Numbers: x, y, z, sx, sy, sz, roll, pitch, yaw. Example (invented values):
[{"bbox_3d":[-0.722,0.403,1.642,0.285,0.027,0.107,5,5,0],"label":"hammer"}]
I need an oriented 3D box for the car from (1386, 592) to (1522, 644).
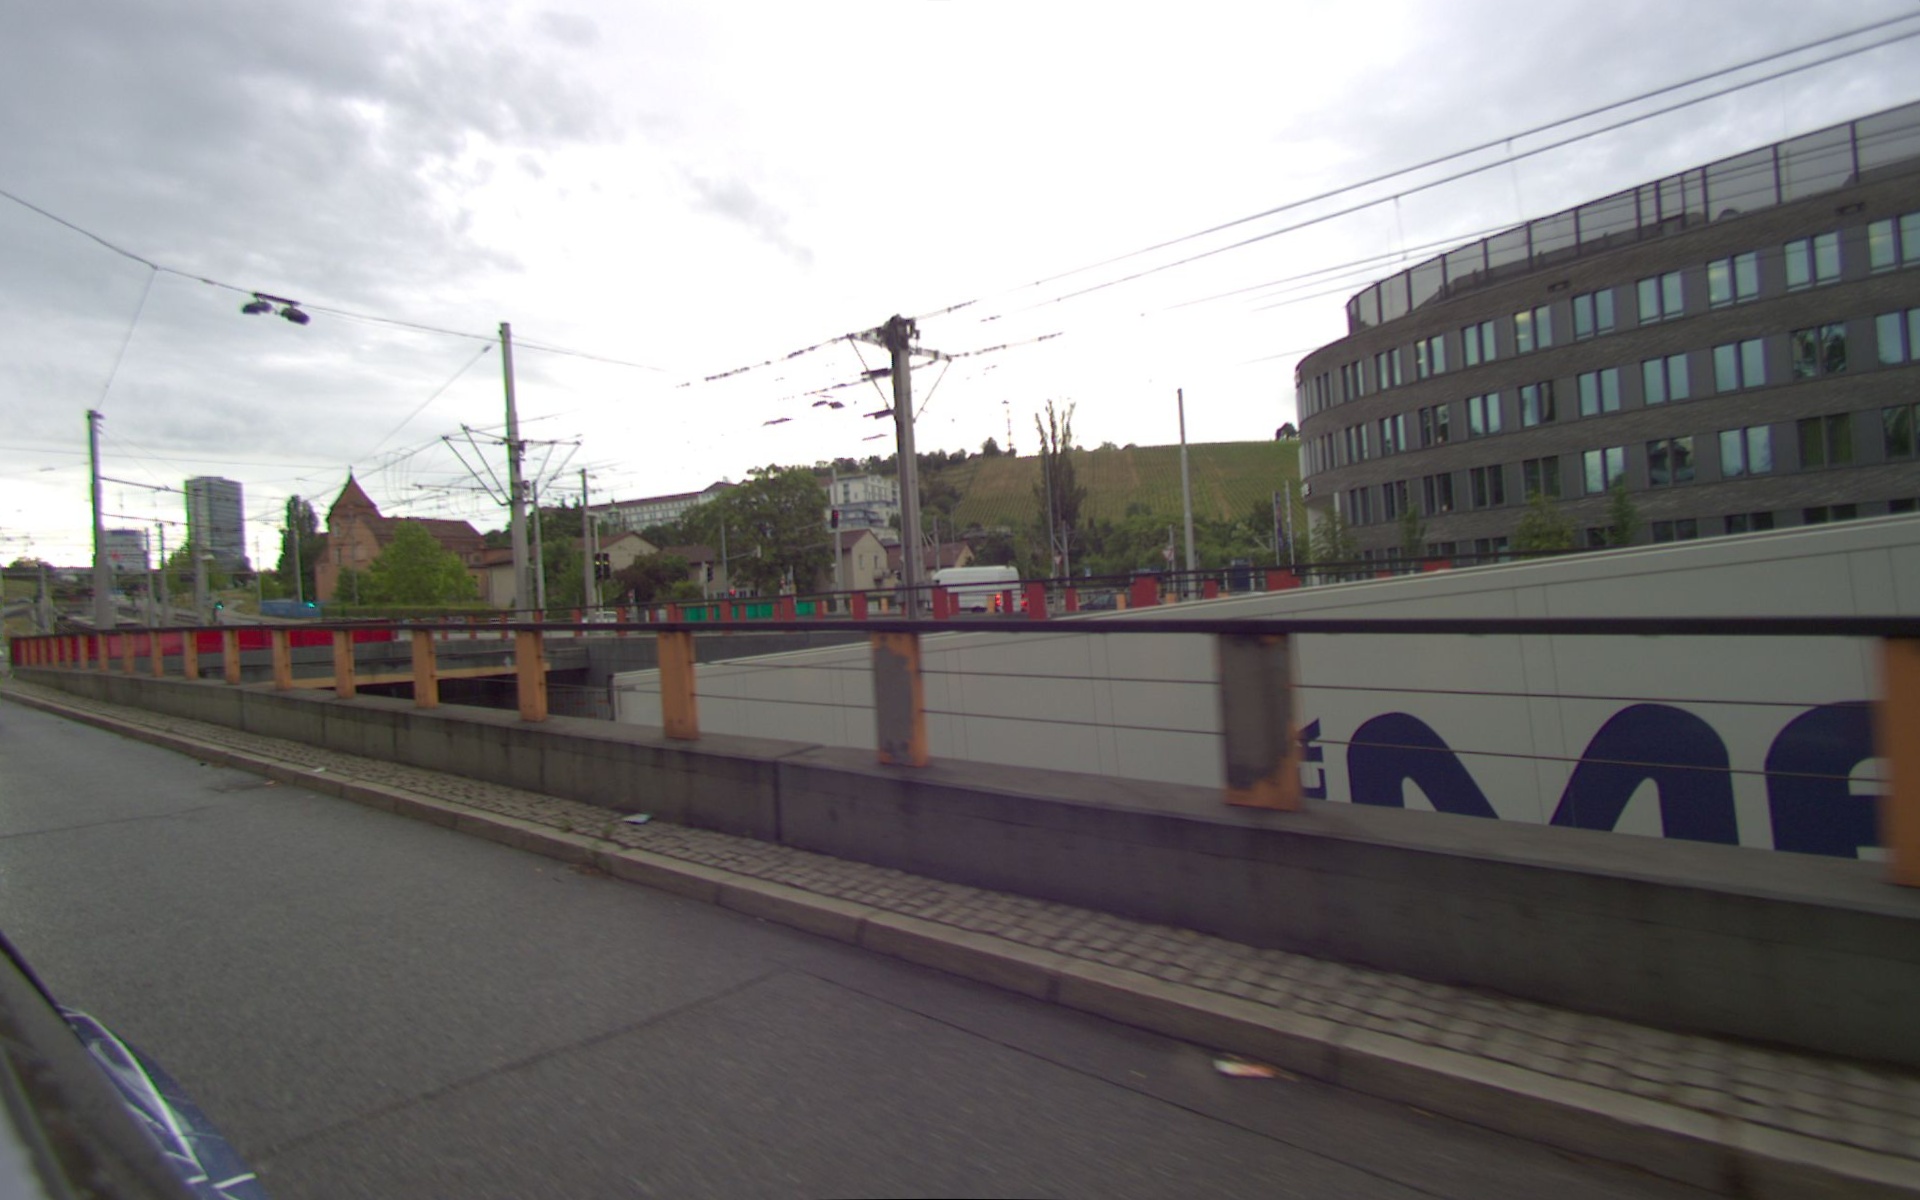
[{"bbox_3d":[16.722,0.559,34.329,3.830,1.597,1.806,1,3,42],"label":"car"}]

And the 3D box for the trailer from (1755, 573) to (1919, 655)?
[{"bbox_3d":[24.450,0.371,27.605,4.270,2.089,1.807,-2,1,39],"label":"trailer"}]

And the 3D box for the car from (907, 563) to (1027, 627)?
[{"bbox_3d":[0.273,-0.169,47.958,5.713,2.853,1.973,-2,-1,40],"label":"car"}]

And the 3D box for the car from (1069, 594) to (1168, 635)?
[{"bbox_3d":[6.726,0.574,43.154,3.830,1.597,1.806,1,3,42],"label":"car"}]

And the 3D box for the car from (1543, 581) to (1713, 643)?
[{"bbox_3d":[20.581,0.320,31.264,4.270,1.762,1.807,1,2,39],"label":"car"}]

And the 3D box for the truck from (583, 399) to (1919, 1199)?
[{"bbox_3d":[2.228,1.525,6.685,13.020,4.229,2.734,-4,-2,40],"label":"truck"}]

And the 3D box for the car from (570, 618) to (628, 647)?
[{"bbox_3d":[-29.103,2.590,81.540,3.935,2.028,2.005,-2,2,-36],"label":"car"}]
